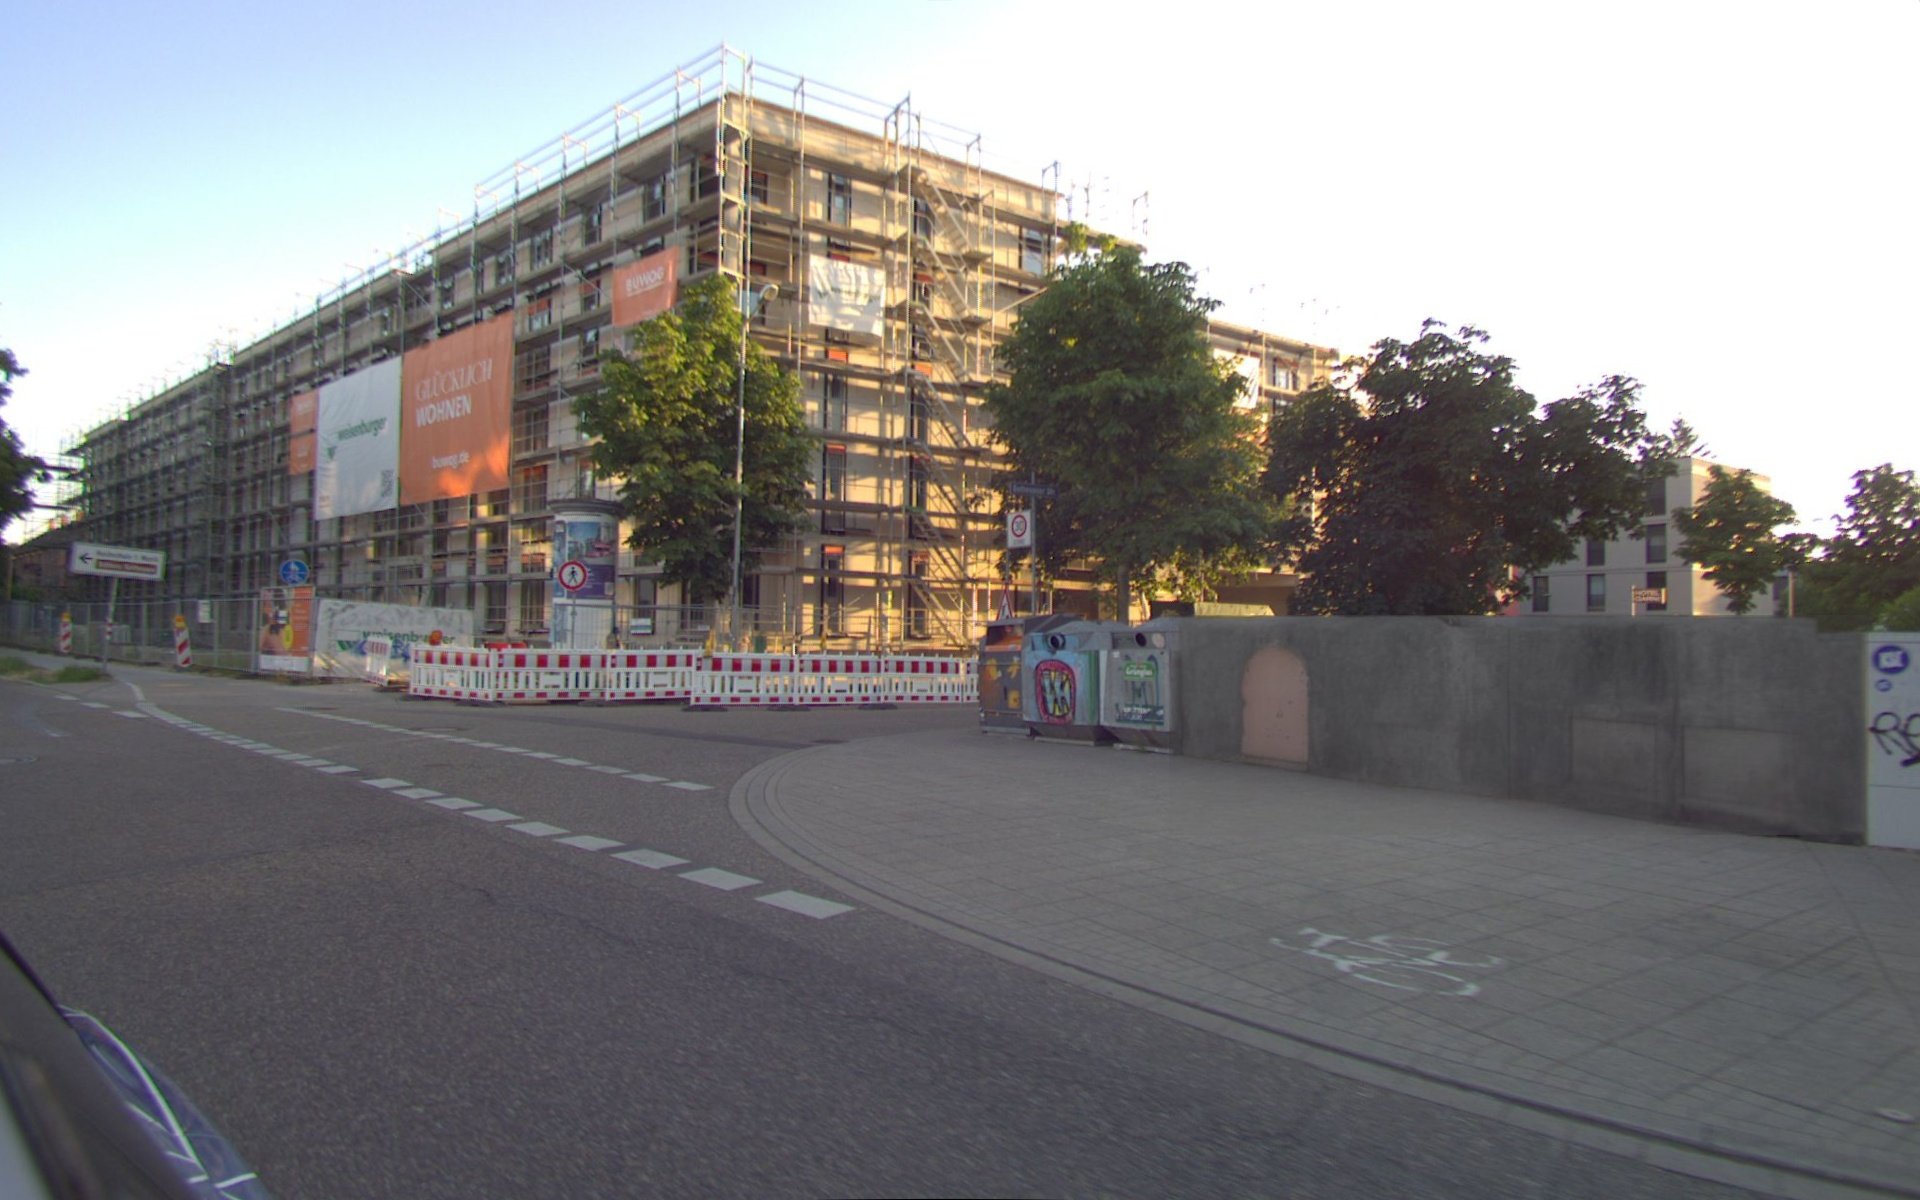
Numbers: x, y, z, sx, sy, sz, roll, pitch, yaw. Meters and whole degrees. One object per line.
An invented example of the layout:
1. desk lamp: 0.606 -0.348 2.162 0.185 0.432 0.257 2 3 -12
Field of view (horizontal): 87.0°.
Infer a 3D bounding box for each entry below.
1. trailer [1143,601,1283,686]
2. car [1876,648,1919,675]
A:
1. trailer: 8.053 1.402 32.148 4.115 2.559 2.006 3 -3 -32
2. car: 55.270 3.605 59.232 3.930 1.481 1.624 3 -3 -35
